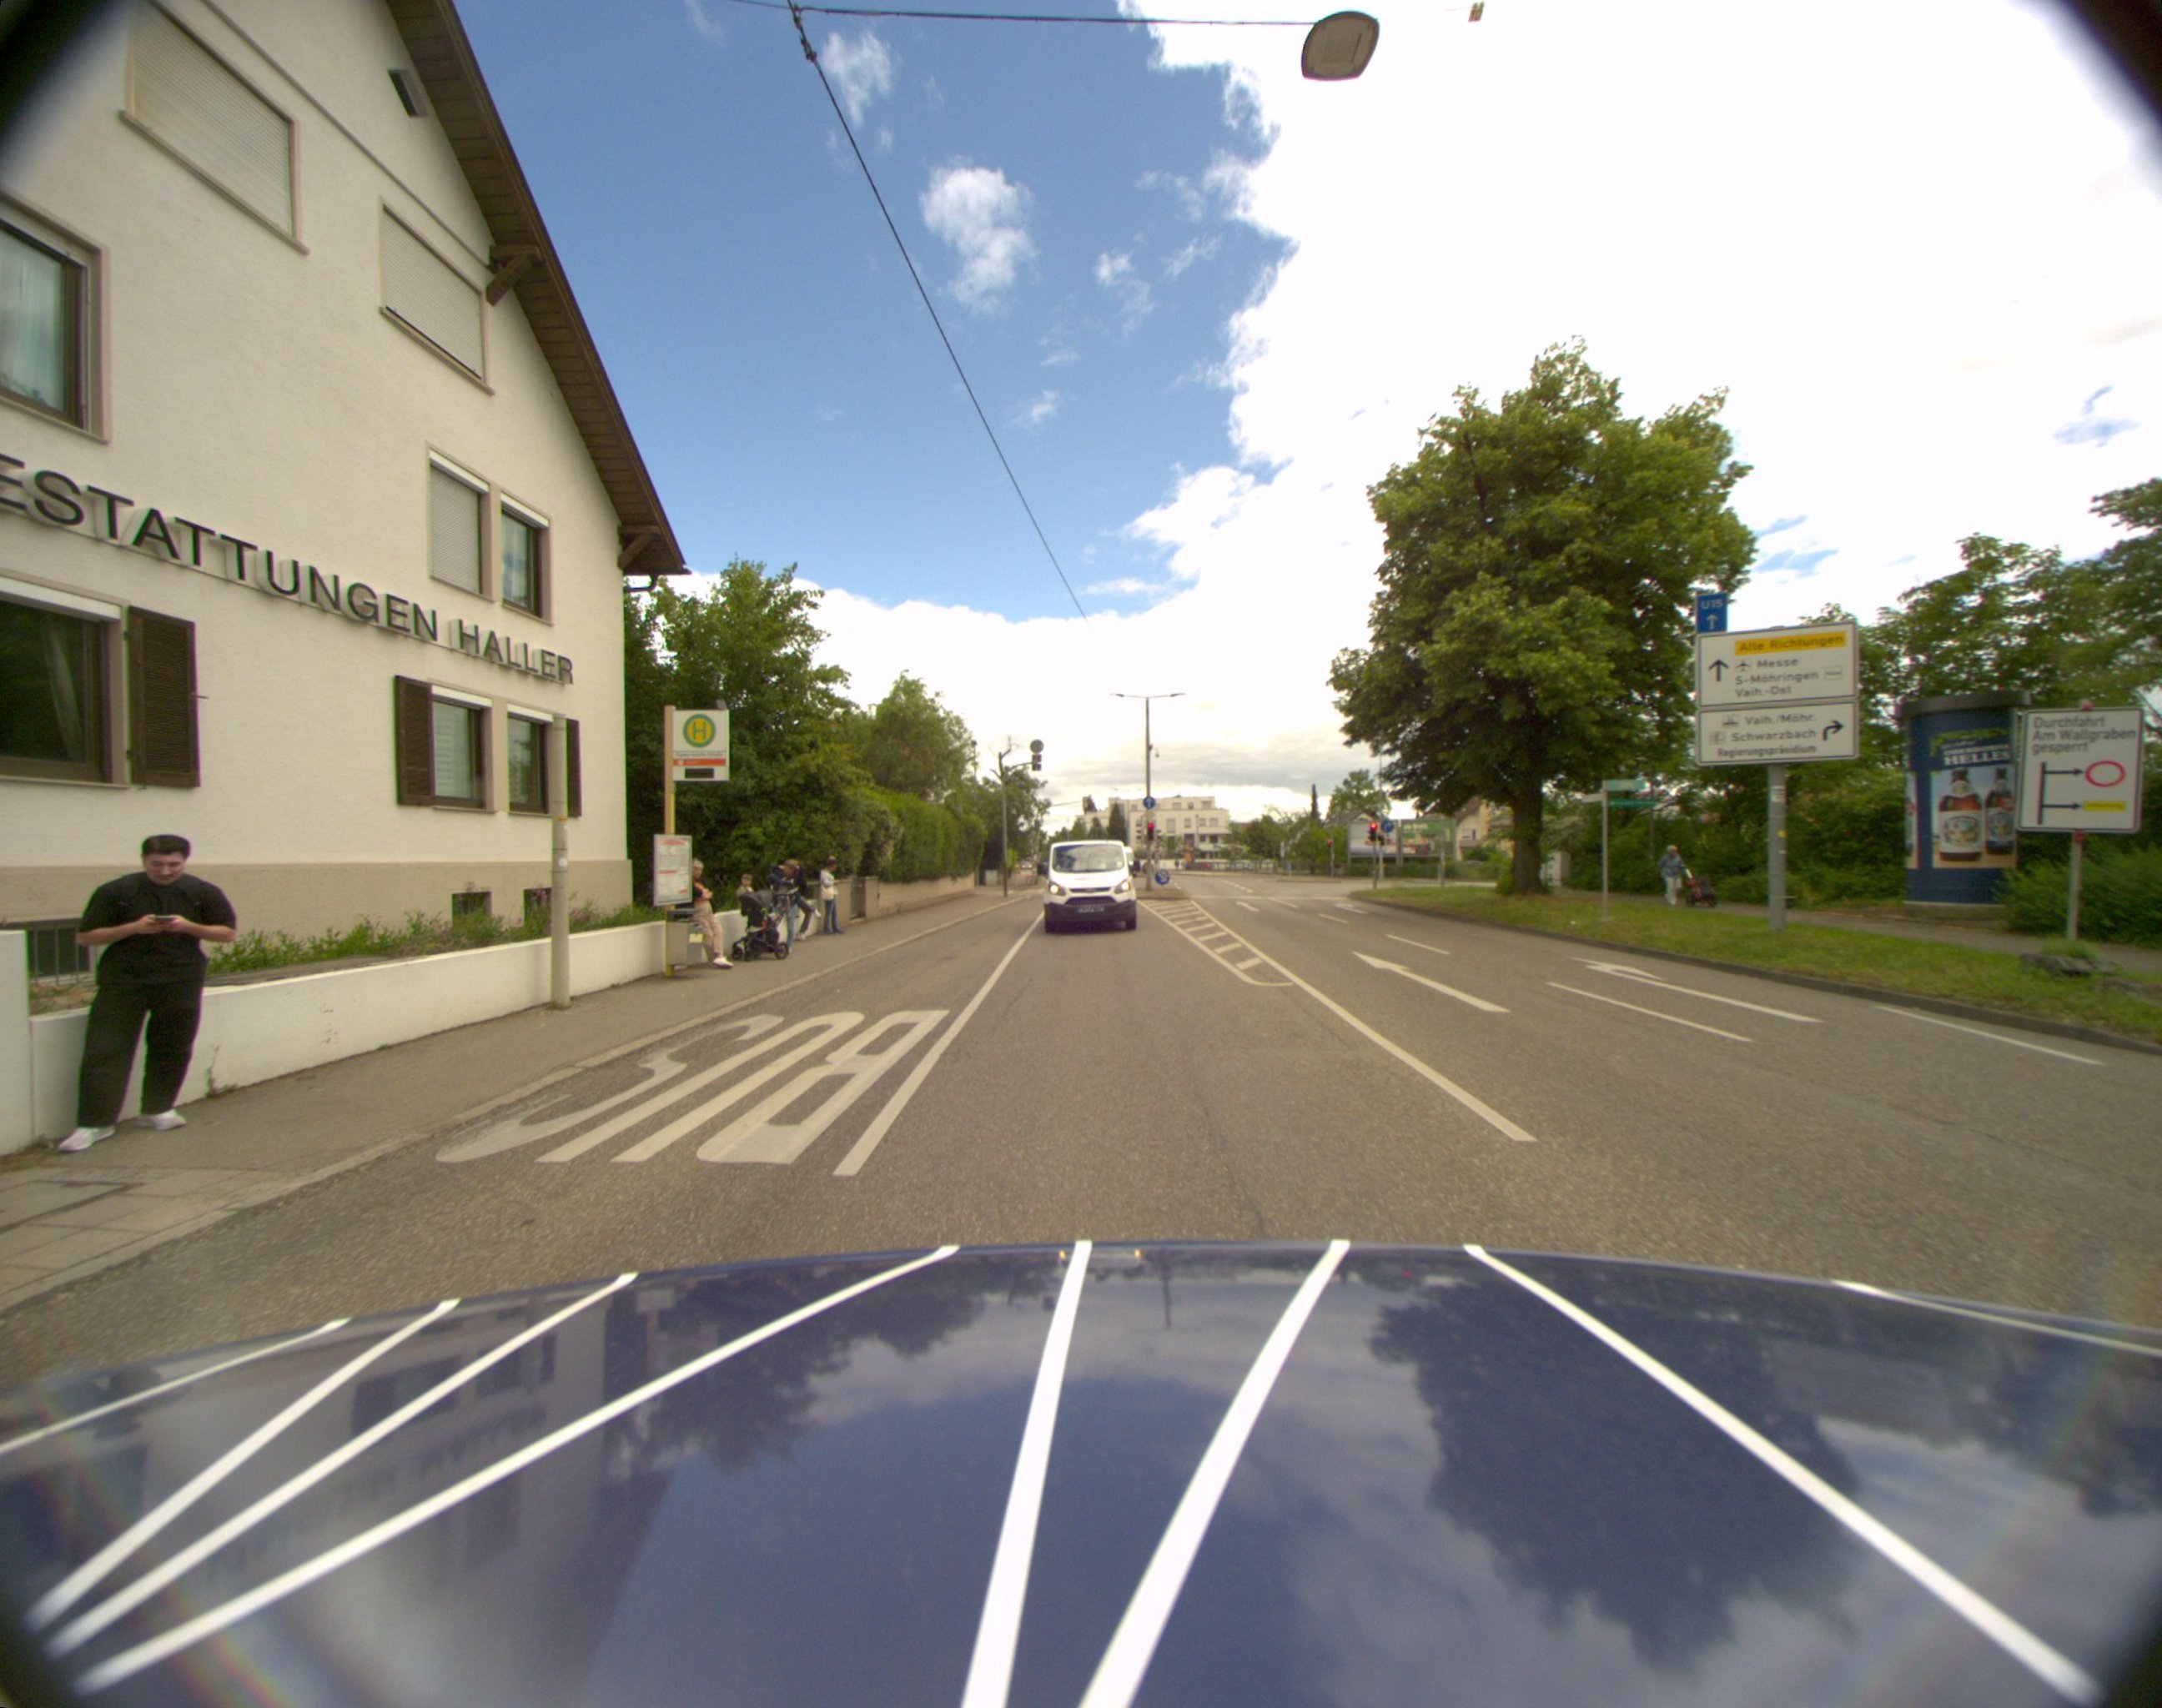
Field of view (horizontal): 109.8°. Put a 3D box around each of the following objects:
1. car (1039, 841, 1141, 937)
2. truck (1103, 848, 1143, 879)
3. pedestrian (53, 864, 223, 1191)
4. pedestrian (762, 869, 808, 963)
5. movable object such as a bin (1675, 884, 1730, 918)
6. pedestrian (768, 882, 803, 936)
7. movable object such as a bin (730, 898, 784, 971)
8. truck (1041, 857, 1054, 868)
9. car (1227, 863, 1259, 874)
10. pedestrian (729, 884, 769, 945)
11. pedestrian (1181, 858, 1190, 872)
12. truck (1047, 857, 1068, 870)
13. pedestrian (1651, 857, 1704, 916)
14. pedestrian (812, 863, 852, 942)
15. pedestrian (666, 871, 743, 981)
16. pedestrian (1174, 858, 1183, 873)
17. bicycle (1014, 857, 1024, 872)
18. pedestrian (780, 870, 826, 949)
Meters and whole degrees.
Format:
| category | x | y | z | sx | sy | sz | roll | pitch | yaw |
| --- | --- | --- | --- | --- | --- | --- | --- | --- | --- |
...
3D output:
| category | x | y | z | sx | sy | sz | roll | pitch | yaw |
| --- | --- | --- | --- | --- | --- | --- | --- | --- | --- |
| car | 0.043 | 0.757 | 18.755 | 2.076 | 1.956 | 5.555 | -2 | 0 | -3 |
| truck | 3.507 | 0.809 | 64.836 | 2.038 | 2.555 | 6.052 | 0 | 0 | -11 |
| pedestrian | -5.401 | 0.914 | 4.370 | 0.528 | 1.702 | 0.589 | 2 | 1 | 38 |
| pedestrian | -4.883 | 1.005 | 12.555 | 0.550 | 1.508 | 0.362 | 2 | 0 | 11 |
| movable object such as a bin | 15.566 | 1.170 | 19.045 | 0.657 | 0.793 | 0.897 | -1 | 0 | -1 |
| pedestrian | -5.385 | 0.996 | 13.844 | 0.455 | 0.958 | 0.383 | 3 | 0 | -4 |
| movable object such as a bin | -4.987 | 1.225 | 11.708 | 0.440 | 1.052 | 0.569 | 2 | 0 | 28 |
| truck | -7.179 | 1.741 | 163.578 | 2.132 | 2.251 | 6.800 | 0 | 0 | -8 |
| car | 22.545 | 2.014 | 105.778 | 4.117 | 1.526 | 1.651 | 1 | 0 | 36 |
| pedestrian | -5.461 | 0.996 | 12.512 | 0.455 | 0.958 | 0.383 | 3 | 0 | -4 |
| pedestrian | 12.057 | 1.298 | 87.852 | 0.658 | 1.624 | 0.832 | -2 | 1 | -15 |
| truck | -3.478 | 1.353 | 109.981 | 1.618 | 1.780 | 3.992 | 0 | 0 | -24 |
| pedestrian | 15.562 | 0.830 | 19.854 | 0.657 | 1.513 | 0.923 | -1 | 0 | -1 |
| pedestrian | -5.018 | 0.964 | 15.322 | 0.470 | 1.546 | 0.546 | 3 | 0 | 11 |
| pedestrian | -5.295 | 0.996 | 10.729 | 0.782 | 1.491 | 0.605 | 1 | 0 | -4 |
| pedestrian | 11.282 | 1.328 | 87.766 | 0.658 | 1.624 | 1.069 | -2 | 1 | -15 |
| bicycle | -6.250 | 1.062 | 77.166 | 0.894 | 1.501 | 2.782 | 3 | -1 | -4 |
| pedestrian | -5.258 | 1.037 | 14.387 | 0.619 | 1.419 | 0.514 | 2 | 0 | 40 |
